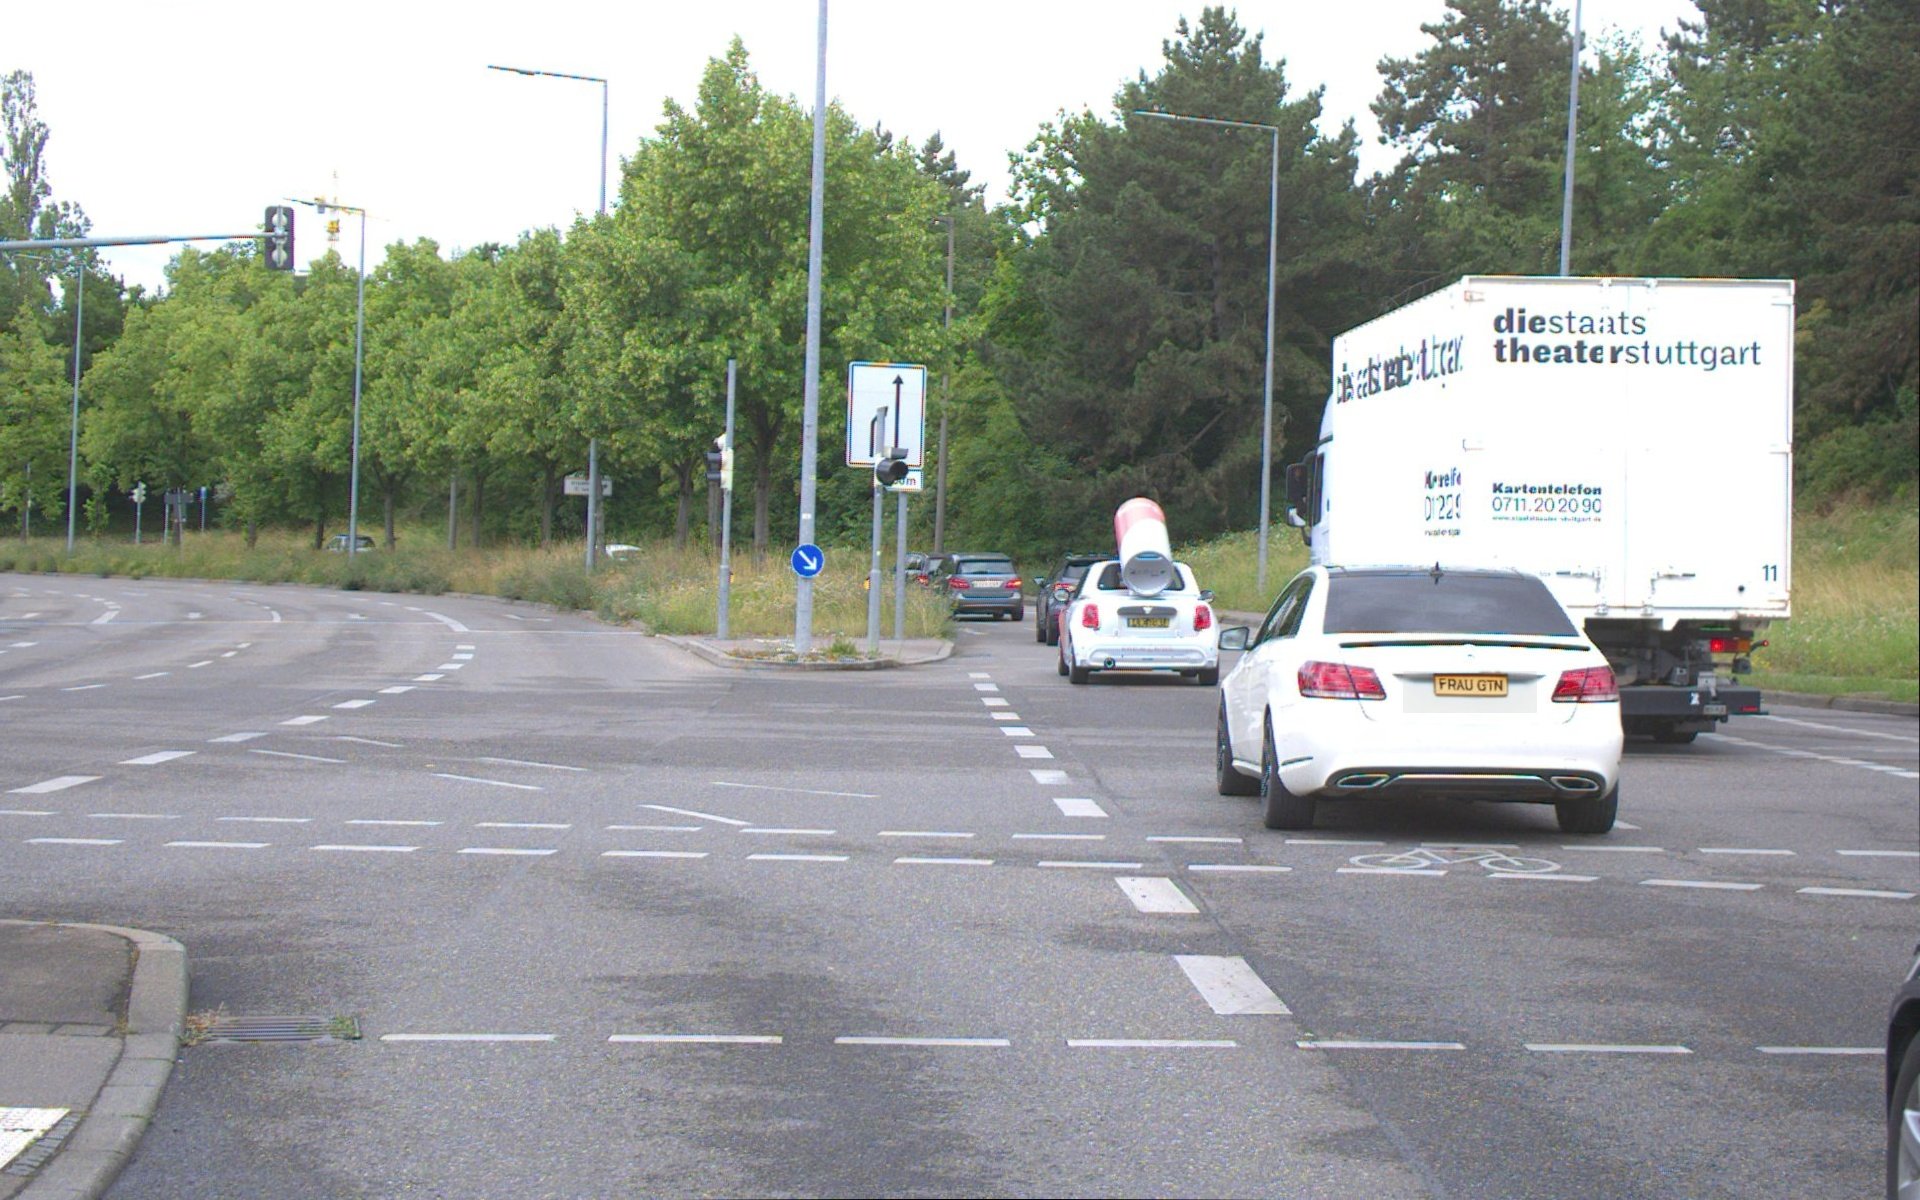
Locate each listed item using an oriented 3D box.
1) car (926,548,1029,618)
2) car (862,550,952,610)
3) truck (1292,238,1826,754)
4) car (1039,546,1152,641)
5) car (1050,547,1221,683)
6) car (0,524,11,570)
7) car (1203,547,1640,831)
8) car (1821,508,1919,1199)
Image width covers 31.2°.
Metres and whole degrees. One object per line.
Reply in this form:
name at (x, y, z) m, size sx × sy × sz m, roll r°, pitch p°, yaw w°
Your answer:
car at (0.361, -0.408, 78.123) m, size 1.746 × 1.503 × 4.049 m, roll 1°, pitch 1°, yaw -8°
car at (-1.399, -0.534, 88.870) m, size 1.746 × 1.503 × 4.001 m, roll 1°, pitch 1°, yaw -9°
truck at (5.049, -0.911, 31.250) m, size 2.802 × 3.890 × 10.183 m, roll 1°, pitch 1°, yaw -1°
car at (2.228, -0.130, 57.401) m, size 1.624 × 1.488 × 3.837 m, roll 1°, pitch 1°, yaw -1°
car at (2.012, 0.141, 40.313) m, size 1.821 × 1.500 × 3.494 m, roll 1°, pitch 1°, yaw 0°
car at (-34.535, -1.872, 119.543) m, size 1.795 × 1.582 × 4.000 m, roll 1°, pitch 1°, yaw -34°
car at (2.476, 0.431, 19.467) m, size 1.799 × 1.407 × 4.317 m, roll 1°, pitch 0°, yaw -1°
car at (2.631, 0.650, 5.008) m, size 1.664 × 1.593 × 3.997 m, roll 1°, pitch 0°, yaw -1°
